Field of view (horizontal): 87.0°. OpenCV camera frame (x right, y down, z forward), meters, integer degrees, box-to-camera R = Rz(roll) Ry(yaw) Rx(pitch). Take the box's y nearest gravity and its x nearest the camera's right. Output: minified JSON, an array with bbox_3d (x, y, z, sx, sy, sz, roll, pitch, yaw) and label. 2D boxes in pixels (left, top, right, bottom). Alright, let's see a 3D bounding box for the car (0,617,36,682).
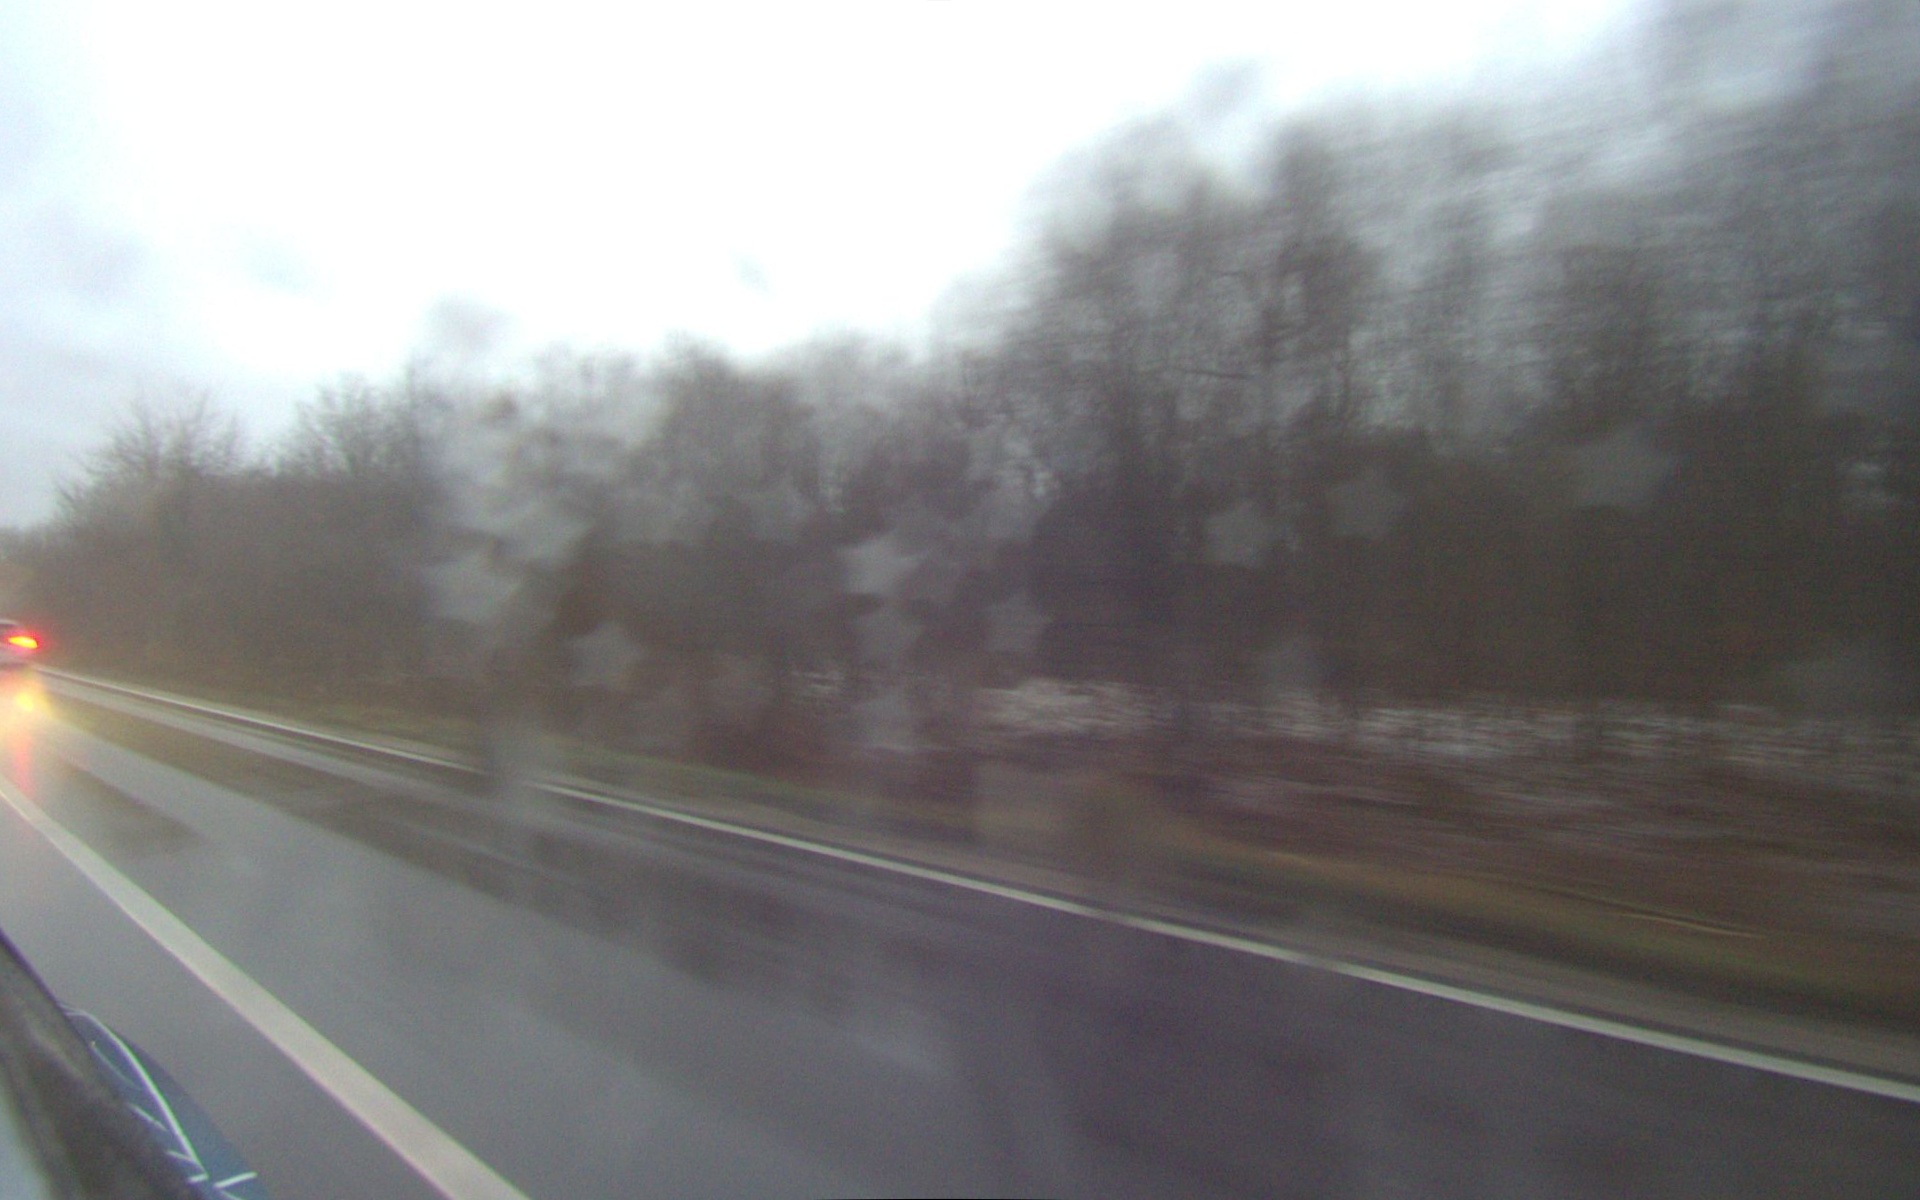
[{"bbox_3d":[-24.847,1.246,25.541,3.990,1.564,1.731,-2,-2,40],"label":"car"}]
